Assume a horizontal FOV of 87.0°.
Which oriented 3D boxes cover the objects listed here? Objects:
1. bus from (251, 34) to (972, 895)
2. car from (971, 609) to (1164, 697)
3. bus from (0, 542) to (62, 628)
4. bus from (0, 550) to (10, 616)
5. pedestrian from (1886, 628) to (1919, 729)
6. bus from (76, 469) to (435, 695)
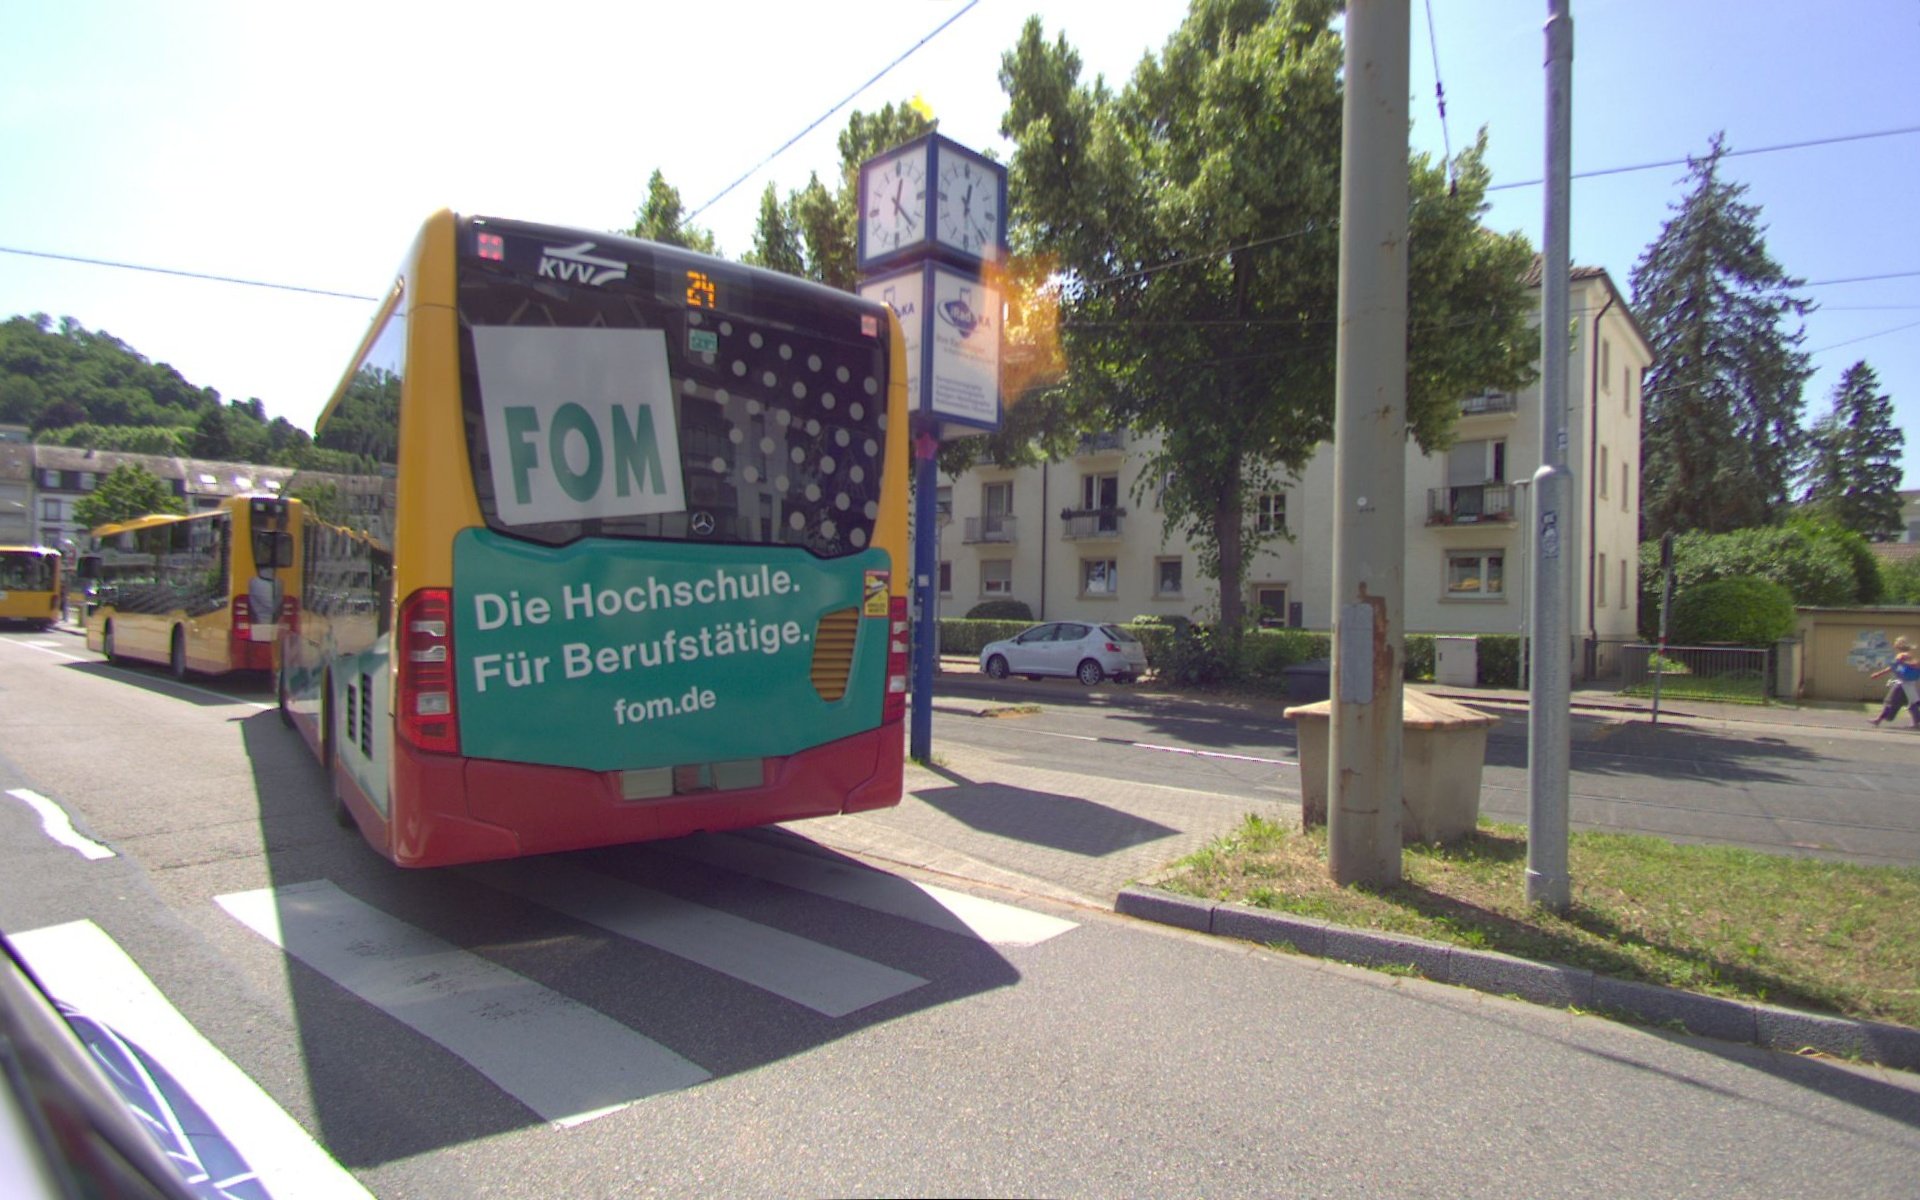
[{"bbox_3d":[-4.748,-0.506,9.563,2.743,3.233,12.333,-1,0,-37],"label":"bus"},{"bbox_3d":[2.361,1.106,22.675,3.994,1.630,1.734,2,2,38],"label":"car"},{"bbox_3d":[-40.847,-0.766,42.843,12.194,3.271,2.867,2,2,42],"label":"bus"},{"bbox_3d":[-55.235,-0.875,55.829,12.033,3.453,2.878,0,1,41],"label":"bus"},{"bbox_3d":[16.371,1.337,17.353,0.606,1.664,0.568,2,2,36],"label":"pedestrian"},{"bbox_3d":[-14.238,-0.371,19.722,12.112,3.272,2.877,1,2,41],"label":"bus"}]
